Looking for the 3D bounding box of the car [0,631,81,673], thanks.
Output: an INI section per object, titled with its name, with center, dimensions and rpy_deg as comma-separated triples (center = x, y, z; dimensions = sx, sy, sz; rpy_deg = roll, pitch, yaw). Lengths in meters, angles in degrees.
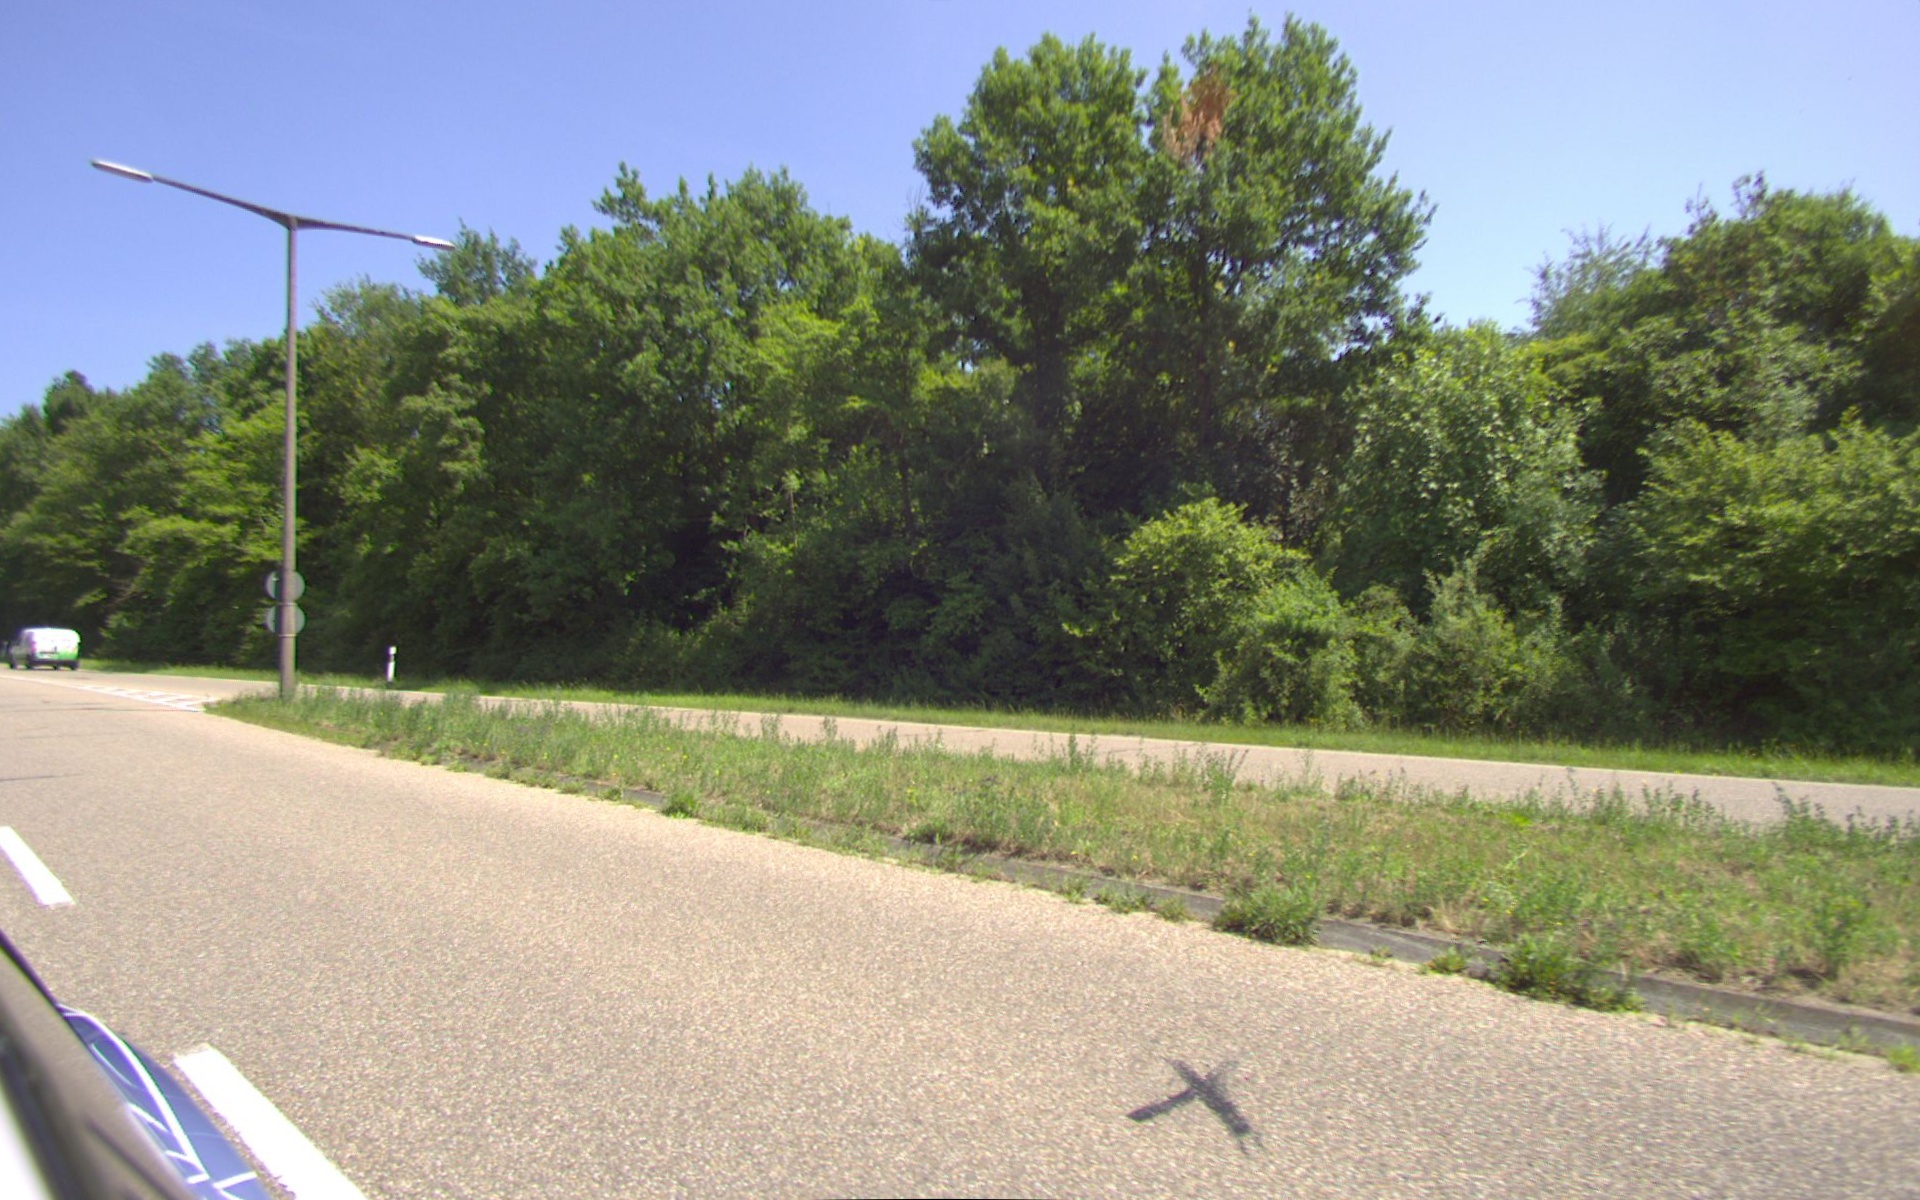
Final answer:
[car]
center = -39.142, 2.209, 43.005
dimensions = 4.085, 1.701, 1.717
rpy_deg = -2, -5, 35
